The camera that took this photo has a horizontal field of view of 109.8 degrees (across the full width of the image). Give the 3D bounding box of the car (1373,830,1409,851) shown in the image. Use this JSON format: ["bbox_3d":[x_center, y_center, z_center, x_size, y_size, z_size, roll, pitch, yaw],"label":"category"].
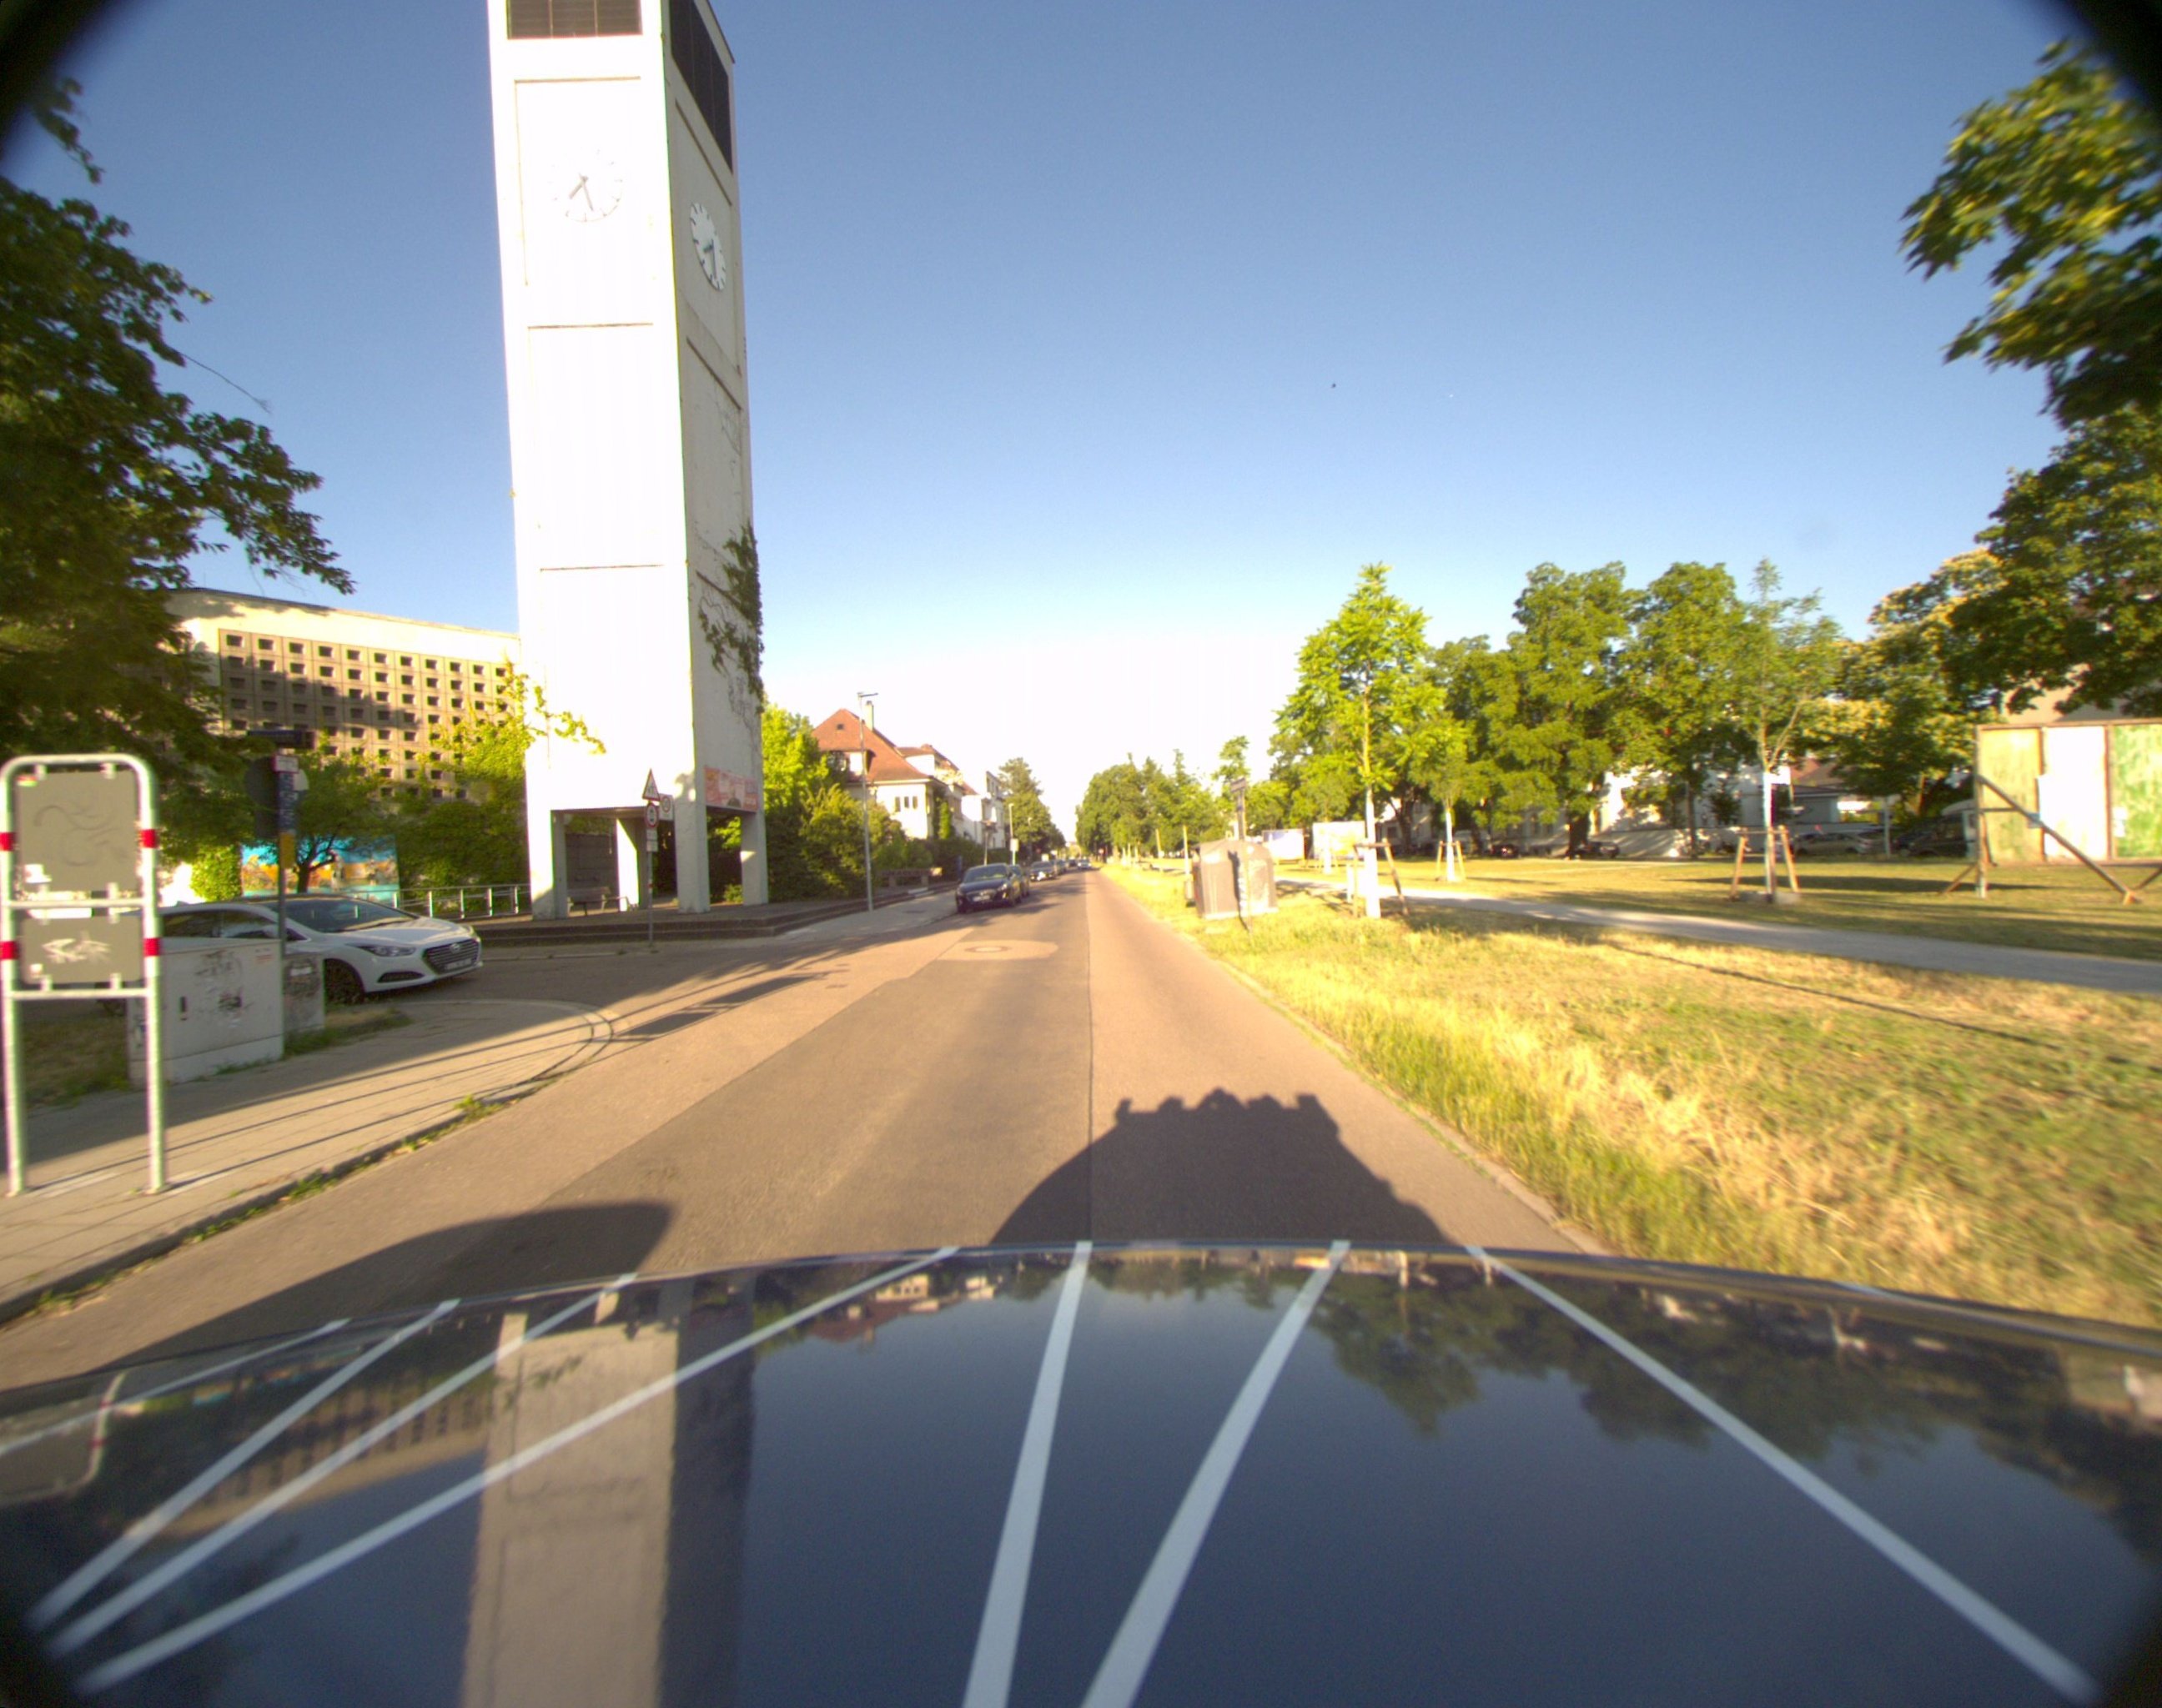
[{"bbox_3d":[34.487,-1.441,84.746,1.999,2.161,4.570,-2,0,-2],"label":"car"}]

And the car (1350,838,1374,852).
[{"bbox_3d":[40.460,-1.276,109.590,1.624,1.814,4.287,-2,0,-4],"label":"car"}]

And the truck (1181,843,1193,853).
[{"bbox_3d":[35.448,-2.028,254.490,2.785,3.128,7.710,-3,0,0],"label":"truck"}]

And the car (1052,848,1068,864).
[{"bbox_3d":[-2.551,0.226,93.114,1.806,1.639,4.582,-7,2,-1],"label":"car"}]

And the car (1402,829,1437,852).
[{"bbox_3d":[40.416,-1.653,90.827,1.950,2.625,5.043,1,1,1],"label":"car"}]

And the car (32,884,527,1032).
[{"bbox_3d":[-11.249,1.414,10.986,4.859,1.478,2.001,-3,4,0],"label":"car"}]

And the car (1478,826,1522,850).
[{"bbox_3d":[39.879,-1.460,72.404,1.998,2.142,4.000,-3,0,1],"label":"car"}]

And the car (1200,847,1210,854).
[{"bbox_3d":[35.511,-0.997,218.416,2.125,2.002,3.998,1,1,-1],"label":"car"}]

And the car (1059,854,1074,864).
[{"bbox_3d":[-2.361,0.772,122.231,2.111,1.396,4.132,-8,0,1],"label":"car"}]

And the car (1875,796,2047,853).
[{"bbox_3d":[40.157,-1.304,34.935,1.942,2.405,5.116,1,1,1],"label":"car"}]

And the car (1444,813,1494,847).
[{"bbox_3d":[40.201,-2.418,78.850,1.998,3.230,6.075,-2,0,0],"label":"car"}]

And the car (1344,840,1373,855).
[{"bbox_3d":[34.668,-0.802,95.054,1.999,1.718,4.344,-2,0,-1],"label":"car"}]

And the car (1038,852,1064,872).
[{"bbox_3d":[-2.669,0.684,68.596,1.888,1.528,4.461,-6,1,2],"label":"car"}]

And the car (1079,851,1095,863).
[{"bbox_3d":[0.805,0.437,102.838,1.998,1.483,3.999,-3,1,0],"label":"car"}]

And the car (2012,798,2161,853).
[{"bbox_3d":[40.241,-1.103,29.505,1.974,1.993,5.049,-3,0,1],"label":"car"}]

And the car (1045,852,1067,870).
[{"bbox_3d":[-2.596,0.717,78.950,1.916,1.550,4.567,-7,-1,1],"label":"car"}]

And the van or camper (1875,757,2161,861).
[{"bbox_3d":[34.024,-1.474,27.838,2.648,3.243,6.904,-3,0,1],"label":"van or camper"}]

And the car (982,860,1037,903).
[{"bbox_3d":[-2.943,1.088,32.009,1.692,1.519,4.175,-6,0,1],"label":"car"}]

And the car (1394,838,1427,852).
[{"bbox_3d":[34.430,-0.914,79.425,1.857,1.308,4.042,-4,1,3],"label":"car"}]

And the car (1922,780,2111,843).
[{"bbox_3d":[34.024,-1.474,27.838,1.998,2.002,4.000,-3,0,1],"label":"car"}]

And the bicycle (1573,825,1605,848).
[{"bbox_3d":[31.191,-1.071,46.691,0.512,1.334,2.331,-3,0,4],"label":"bicycle"}]

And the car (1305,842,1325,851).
[{"bbox_3d":[40.591,-1.272,131.742,1.999,1.490,3.999,-2,0,-4],"label":"car"}]

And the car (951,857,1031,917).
[{"bbox_3d":[-2.879,1.002,25.299,1.827,1.552,4.622,-8,0,1],"label":"car"}]

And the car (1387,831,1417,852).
[{"bbox_3d":[40.411,-1.628,95.692,1.998,2.527,3.998,-2,2,1],"label":"car"}]

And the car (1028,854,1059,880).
[{"bbox_3d":[-2.774,0.930,57.269,1.999,1.588,4.885,-7,1,0],"label":"car"}]

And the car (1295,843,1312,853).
[{"bbox_3d":[34.963,-0.887,119.407,1.894,1.513,3.681,-2,0,6],"label":"car"}]

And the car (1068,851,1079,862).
[{"bbox_3d":[-1.596,0.560,158.886,1.998,2.179,4.001,-2,0,1],"label":"car"}]

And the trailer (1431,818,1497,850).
[{"bbox_3d":[34.281,-1.796,68.305,2.479,2.644,6.634,1,1,0],"label":"trailer"}]

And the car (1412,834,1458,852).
[{"bbox_3d":[34.487,-1.086,74.163,1.999,1.632,4.950,-4,1,-1],"label":"car"}]

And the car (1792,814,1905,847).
[{"bbox_3d":[40.297,-1.209,40.031,1.999,1.534,3.809,-3,0,-1],"label":"car"}]

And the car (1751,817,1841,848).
[{"bbox_3d":[49.792,-1.494,52.933,4.525,1.889,1.980,-3,0,-4],"label":"car"}]

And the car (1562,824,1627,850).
[{"bbox_3d":[40.309,-1.306,59.781,1.894,1.901,4.714,-3,0,1],"label":"car"}]
